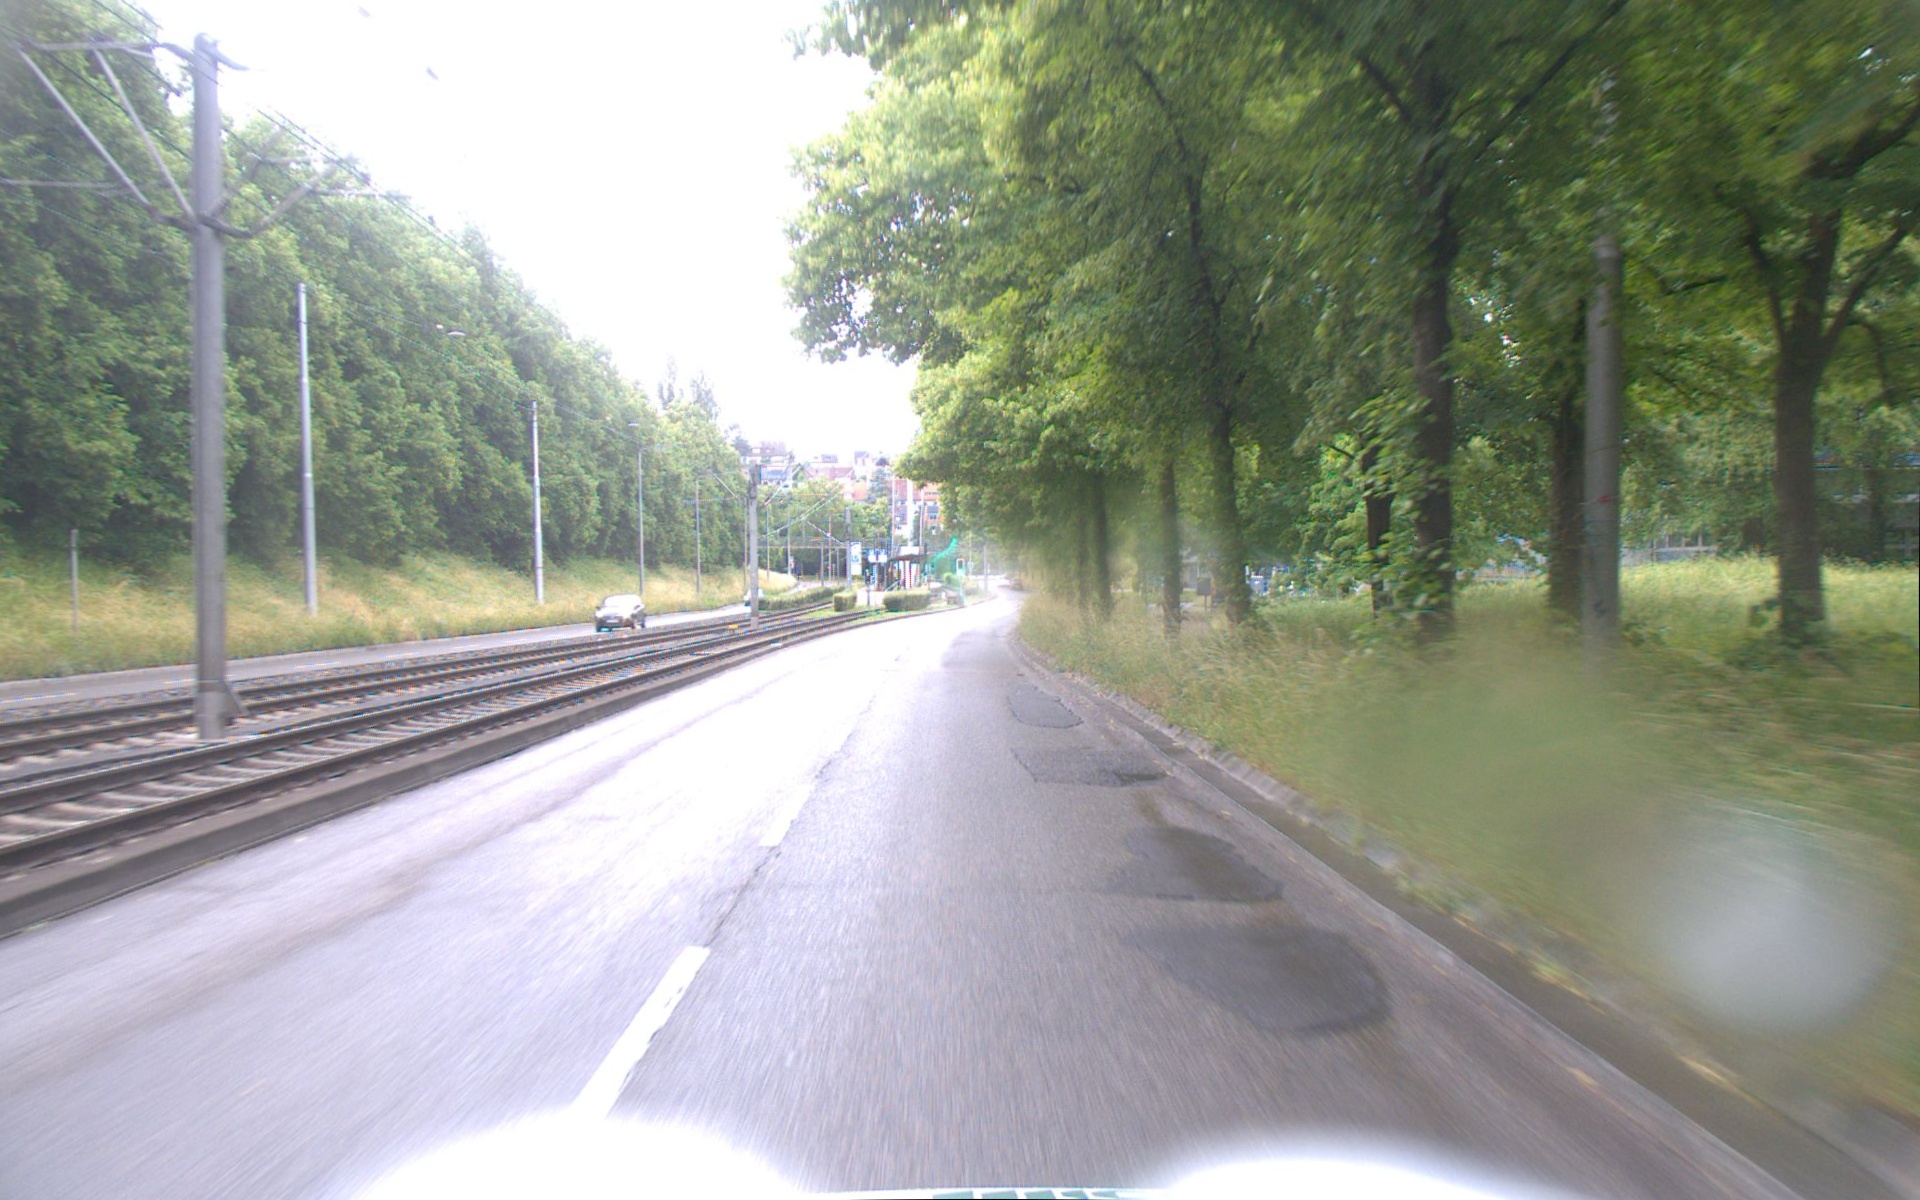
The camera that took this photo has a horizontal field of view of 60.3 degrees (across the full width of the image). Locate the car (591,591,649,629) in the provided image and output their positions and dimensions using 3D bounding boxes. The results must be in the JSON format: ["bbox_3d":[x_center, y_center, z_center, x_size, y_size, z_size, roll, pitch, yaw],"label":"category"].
[{"bbox_3d":[-14.366,0.404,70.094,1.636,1.468,4.026,-3,0,-2],"label":"car"}]

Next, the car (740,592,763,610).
[{"bbox_3d":[-19.390,0.071,153.652,1.749,1.579,3.959,-2,0,-3],"label":"car"}]
